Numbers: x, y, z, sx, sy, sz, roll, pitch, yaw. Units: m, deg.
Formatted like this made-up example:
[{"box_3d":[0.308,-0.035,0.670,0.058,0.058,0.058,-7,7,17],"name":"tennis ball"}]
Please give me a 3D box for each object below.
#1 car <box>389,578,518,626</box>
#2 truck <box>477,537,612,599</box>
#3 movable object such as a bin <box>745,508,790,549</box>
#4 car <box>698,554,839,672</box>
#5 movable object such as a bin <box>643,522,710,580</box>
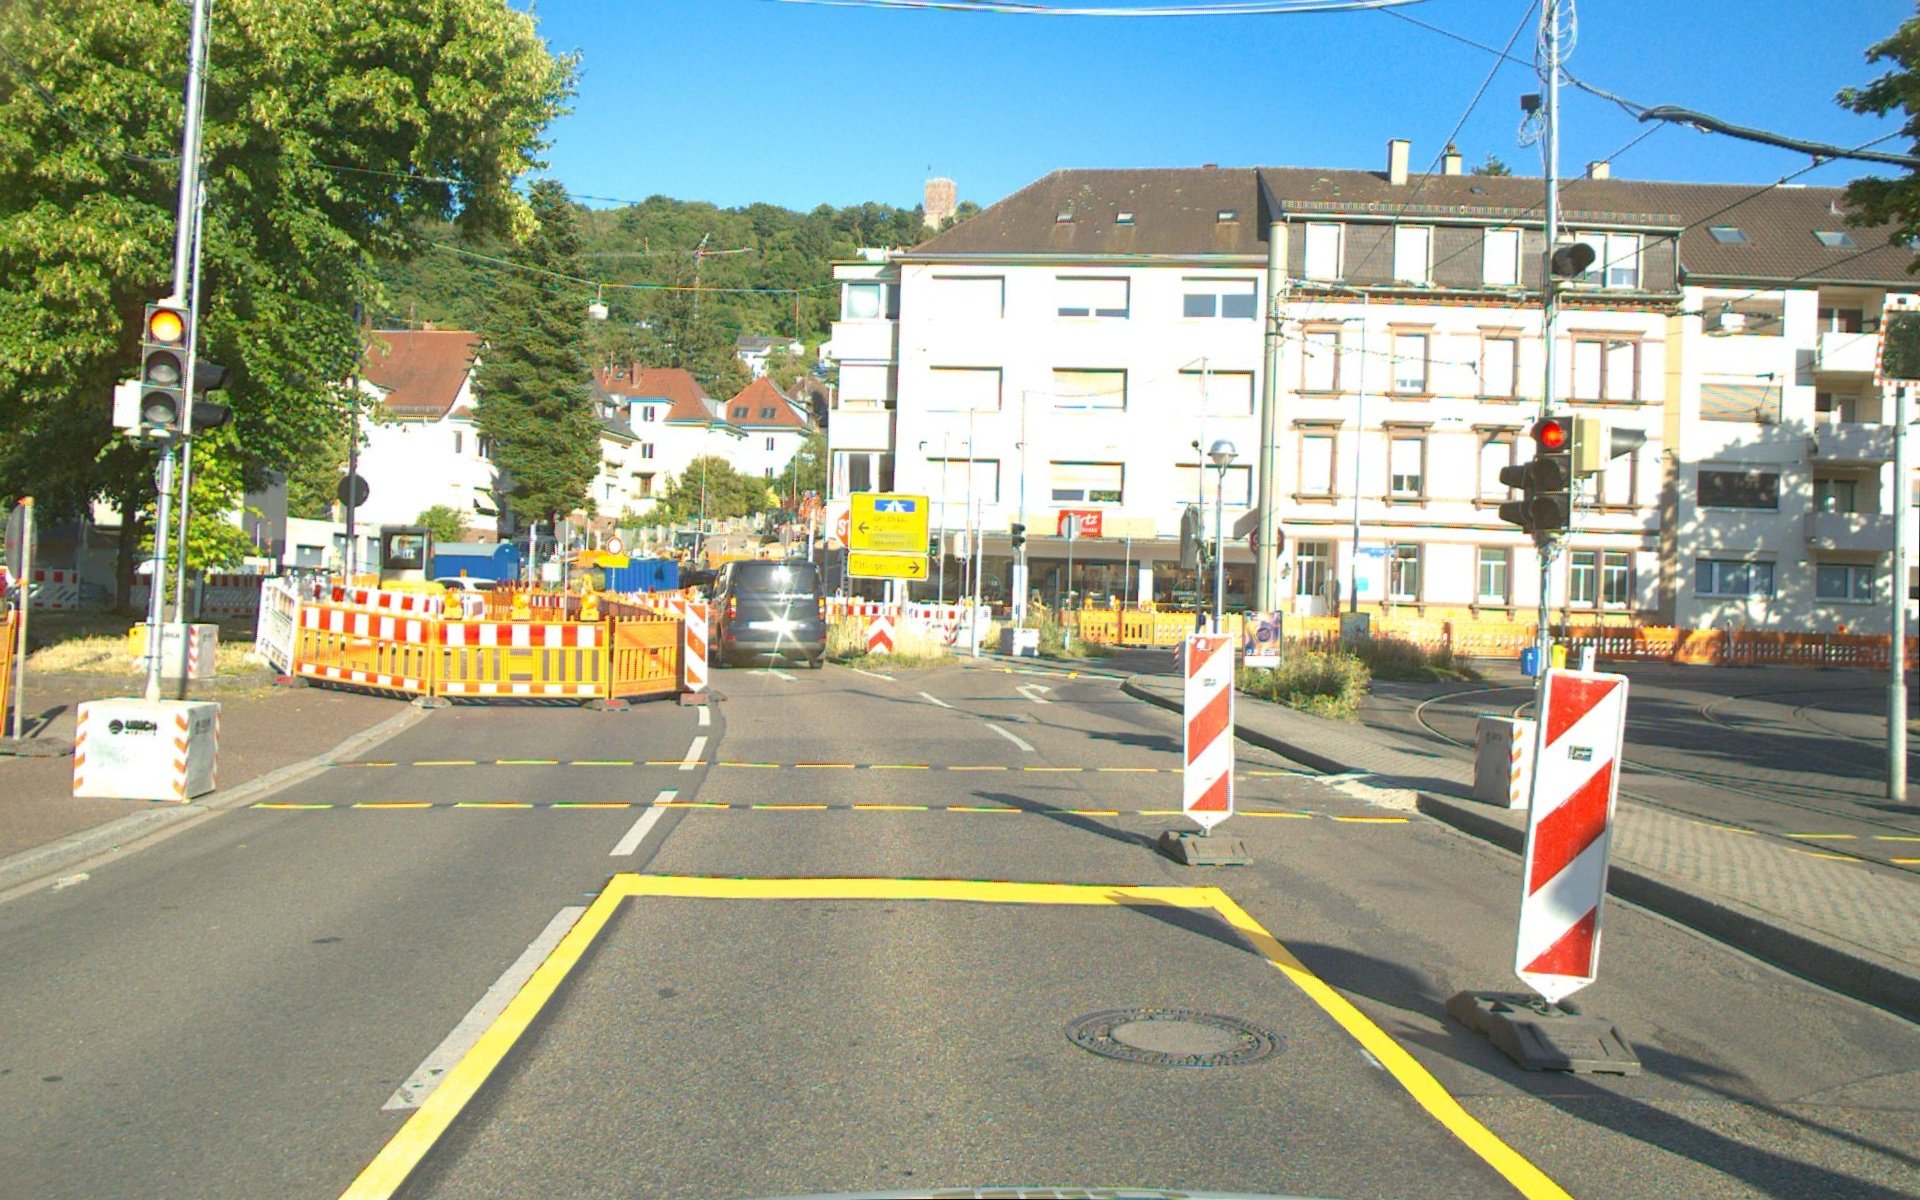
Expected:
[{"box_3d":[-15.987,0.055,52.133,3.917,1.434,1.795,1,0,34],"name":"car"},{"box_3d":[-18.255,-1.346,73.389,2.306,2.458,9.159,2,0,9],"name":"truck"},{"box_3d":[-13.785,-5.092,118.651,2.144,2.737,4.003,2,0,8],"name":"movable object such as a bin"},{"box_3d":[-3.808,0.195,32.108,2.027,2.049,4.982,2,1,-14],"name":"car"},{"box_3d":[-14.401,-2.448,84.103,2.144,2.737,4.003,2,0,8],"name":"movable object such as a bin"}]
